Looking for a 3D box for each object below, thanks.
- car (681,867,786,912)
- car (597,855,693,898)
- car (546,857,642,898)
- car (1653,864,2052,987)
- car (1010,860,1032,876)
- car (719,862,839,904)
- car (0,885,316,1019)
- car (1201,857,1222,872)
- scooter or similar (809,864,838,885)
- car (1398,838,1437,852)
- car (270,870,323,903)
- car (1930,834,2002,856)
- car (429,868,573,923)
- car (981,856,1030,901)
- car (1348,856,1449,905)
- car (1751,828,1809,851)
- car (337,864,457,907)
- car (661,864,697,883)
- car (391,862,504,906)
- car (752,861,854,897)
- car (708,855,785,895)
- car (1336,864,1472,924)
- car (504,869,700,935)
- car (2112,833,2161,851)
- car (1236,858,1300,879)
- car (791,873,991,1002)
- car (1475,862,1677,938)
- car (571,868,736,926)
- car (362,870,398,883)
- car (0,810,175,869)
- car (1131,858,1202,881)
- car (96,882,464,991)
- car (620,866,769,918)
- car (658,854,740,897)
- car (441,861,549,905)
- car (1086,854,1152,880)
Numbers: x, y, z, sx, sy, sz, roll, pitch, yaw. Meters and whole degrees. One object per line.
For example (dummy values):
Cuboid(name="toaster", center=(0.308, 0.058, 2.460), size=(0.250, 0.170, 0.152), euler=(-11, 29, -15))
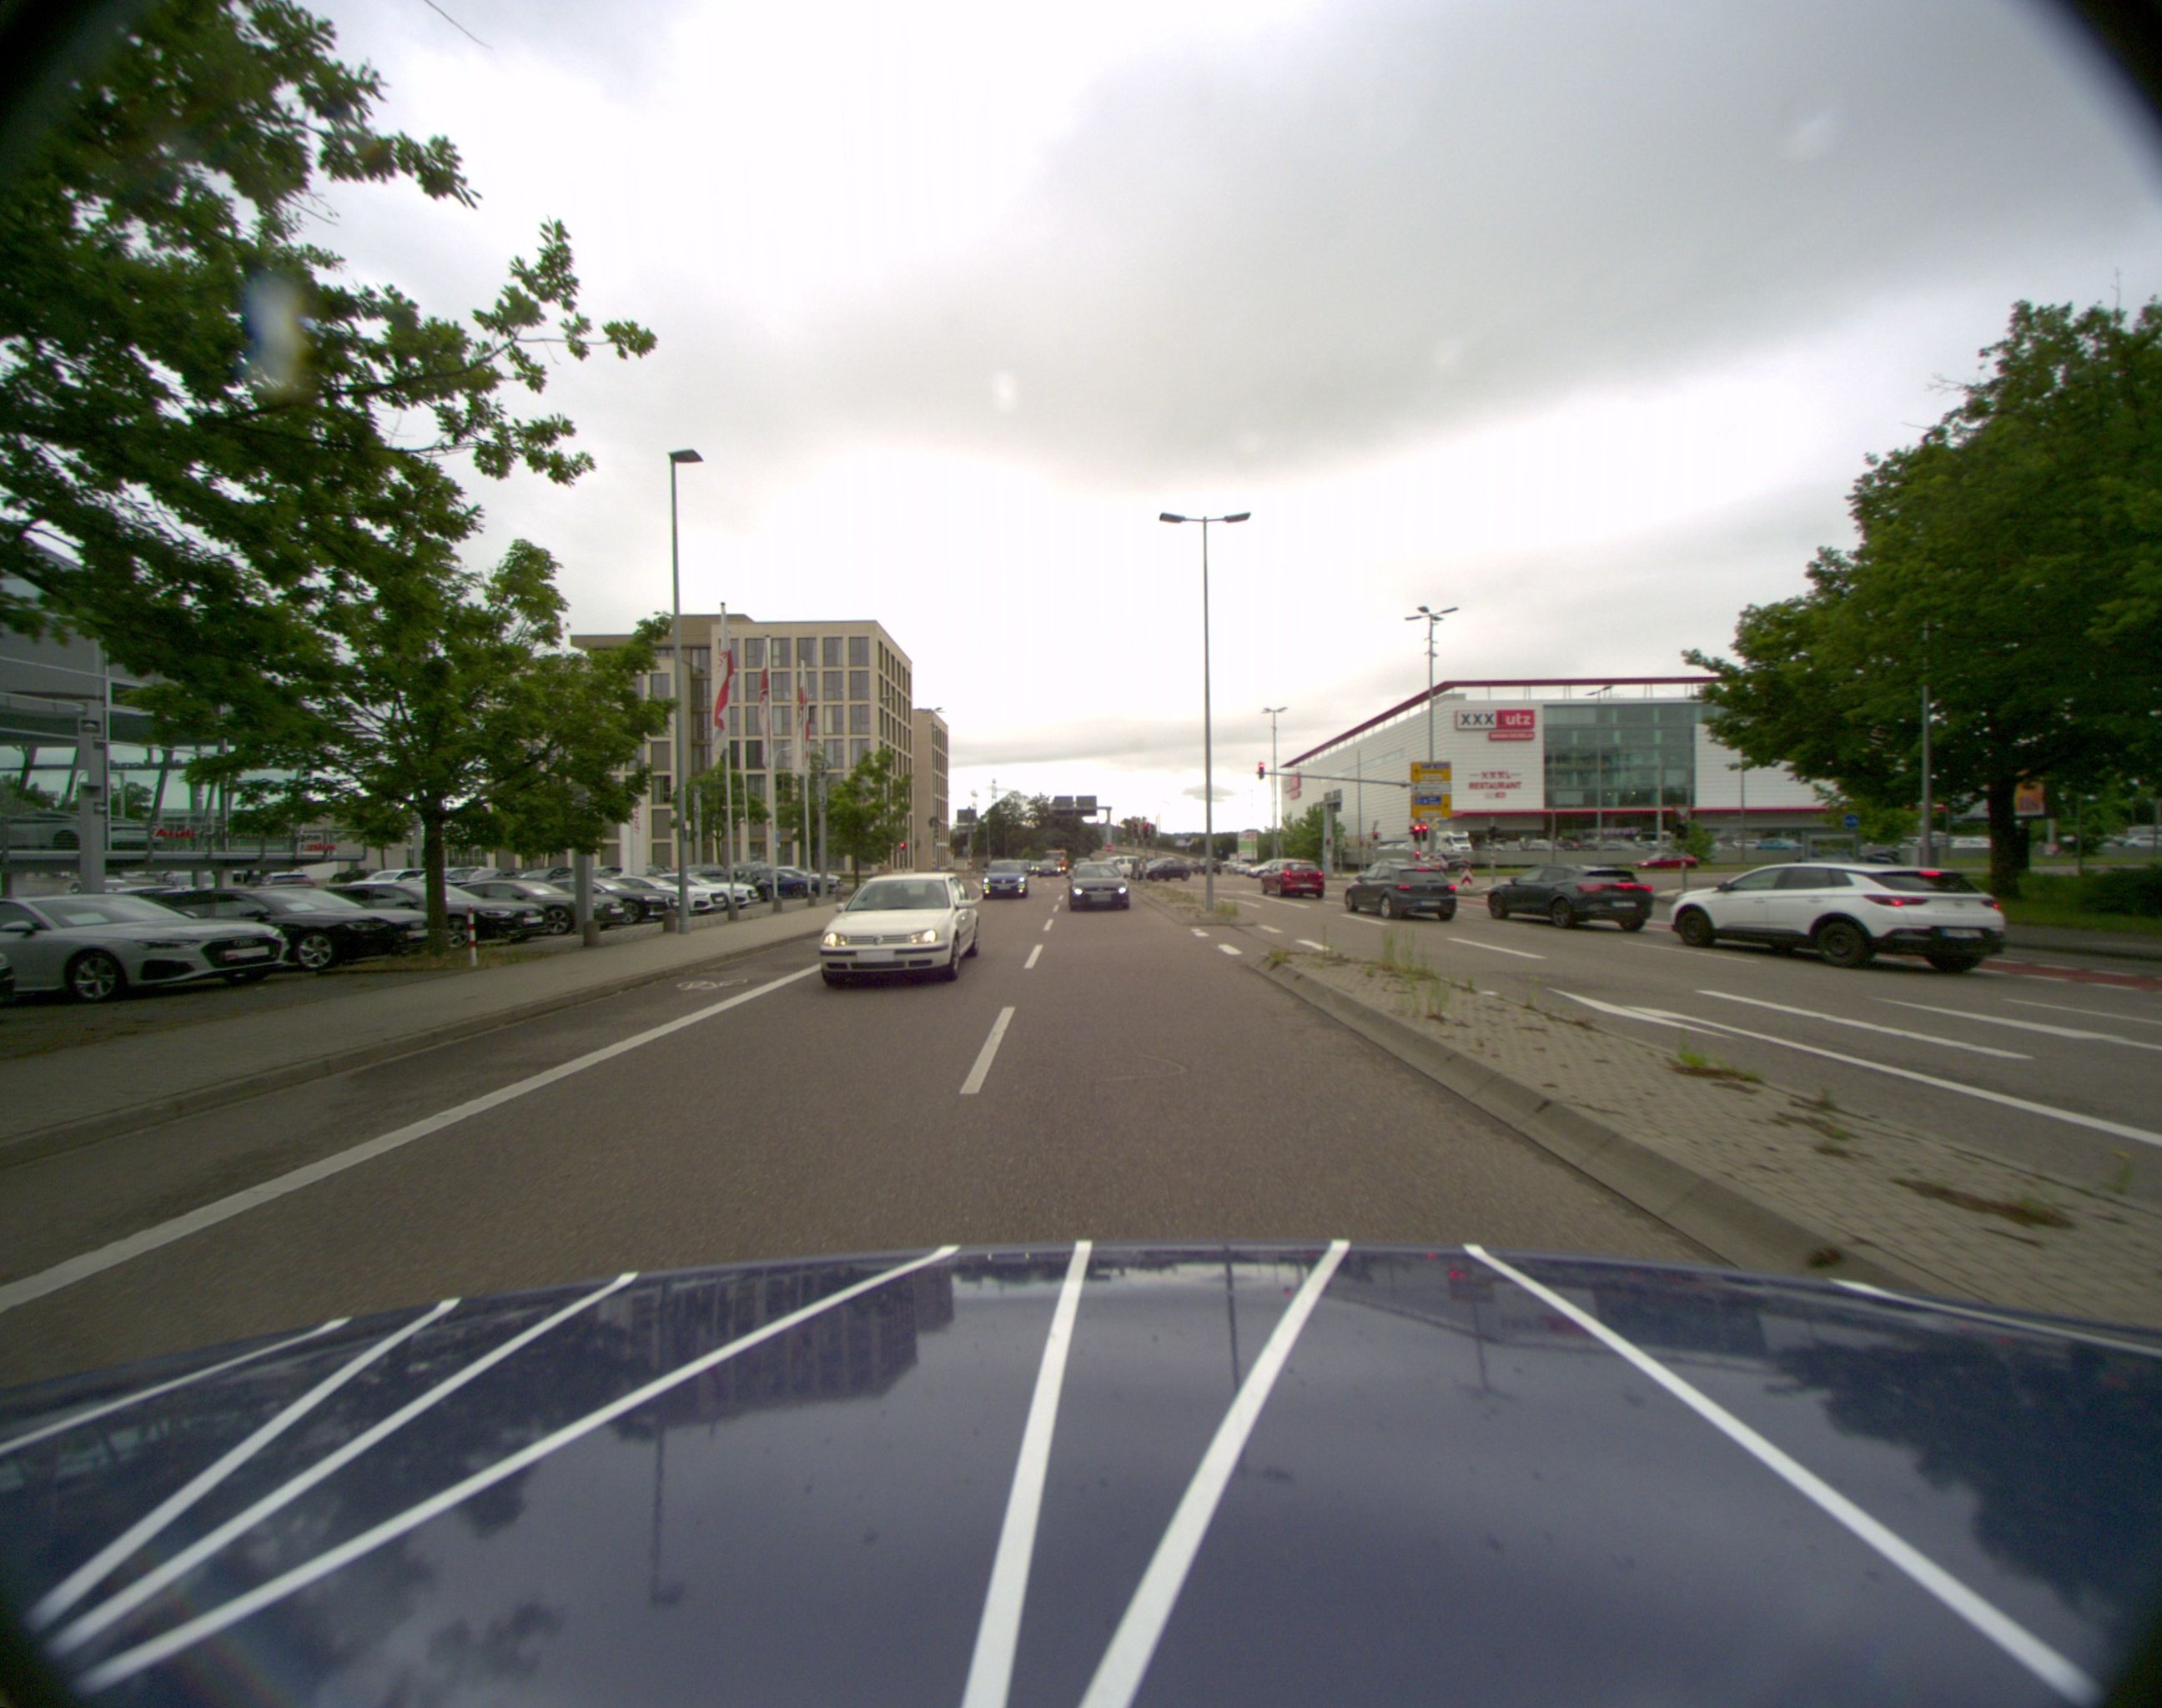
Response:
Cuboid(name="car", center=(-13.844, 1.367, 30.606), size=(1.891, 1.477, 4.755), euler=(-4, 0, 1))
Cuboid(name="car", center=(-23.614, 1.133, 41.455), size=(2.264, 2.002, 5.037), euler=(-2, 2, 0))
Cuboid(name="car", center=(-26.265, 1.195, 41.190), size=(2.053, 1.866, 4.960), euler=(-2, 2, -2))
Cuboid(name="car", center=(12.326, 1.016, 12.732), size=(1.998, 1.585, 4.577), euler=(3, -1, 0))
Cuboid(name="car", center=(-5.951, 1.389, 75.863), size=(1.871, 1.481, 4.151), euler=(-2, -2, 0))
Cuboid(name="car", center=(-13.665, 1.297, 34.598), size=(4.514, 1.477, 2.069), euler=(-4, 1, -1))
Cuboid(name="car", center=(-13.556, 1.315, 10.178), size=(4.661, 1.463, 1.848), euler=(-3, -1, 0))
Cuboid(name="car", center=(13.855, 1.158, 80.597), size=(1.693, 1.519, 3.929), euler=(-2, -2, 3))
Cuboid(name="scooter or similar", center=(-15.118, 1.204, 44.540), size=(1.557, 1.211, 0.560), euler=(-1, -2, 18))
Cuboid(name="car", center=(43.825, -1.130, 98.959), size=(4.255, 1.665, 1.778), euler=(-2, -2, 3))
Cuboid(name="car", center=(-44.169, 1.817, 42.767), size=(4.434, 1.649, 1.926), euler=(-2, 1, 43))
Cuboid(name="car", center=(87.050, -0.856, 74.785), size=(1.998, 2.001, 4.328), euler=(-2, -2, 1))
Cuboid(name="car", center=(-23.312, 1.592, 30.828), size=(1.998, 1.928, 4.818), euler=(-1, 0, 1))
Cuboid(name="car", center=(-3.101, 0.968, 32.039), size=(1.847, 1.612, 4.330), euler=(-2, 1, -3))
Cuboid(name="car", center=(12.020, 0.948, 29.122), size=(1.885, 1.627, 4.332), euler=(2, 0, -2))
Cuboid(name="car", center=(68.598, -1.388, 74.650), size=(1.998, 2.001, 4.002), euler=(-2, -2, 1))
Cuboid(name="car", center=(-37.127, 1.652, 41.453), size=(1.999, 2.002, 4.907), euler=(-2, 2, -1))
Cuboid(name="car", center=(-36.120, 1.762, 68.236), size=(1.892, 1.542, 4.122), euler=(-2, 0, -41))
Cuboid(name="car", center=(-34.289, 1.567, 41.357), size=(1.999, 2.002, 4.907), euler=(-2, 2, -1))
Cuboid(name="car", center=(-13.652, 1.211, 37.487), size=(4.226, 1.477, 1.875), euler=(-3, 1, 1))
Cuboid(name="car", center=(-18.042, 1.094, 41.244), size=(1.999, 1.852, 4.785), euler=(-2, 2, -1))
Cuboid(name="car", center=(8.697, 1.011, 20.917), size=(1.862, 1.453, 4.332), euler=(1, -1, 0))
Cuboid(name="car", center=(-13.344, 1.308, 21.340), size=(4.229, 1.477, 1.871), euler=(-4, 0, 1))
Cuboid(name="car", center=(103.451, -1.181, 73.595), size=(1.795, 1.556, 4.002), euler=(-2, -2, 4))
Cuboid(name="car", center=(13.855, 1.071, 56.310), size=(4.219, 1.407, 1.802), euler=(-1, -2, -10))
Cuboid(name="car", center=(-2.539, 1.058, 11.199), size=(1.837, 1.469, 4.006), euler=(-2, -1, 1))
Cuboid(name="car", center=(11.949, 1.028, 18.823), size=(1.885, 1.535, 4.597), euler=(1, 1, -2))
Cuboid(name="car", center=(-13.419, 1.310, 24.023), size=(4.041, 1.477, 1.877), euler=(-4, 0, 1))
Cuboid(name="car", center=(-75.611, 2.487, 81.959), size=(1.486, 1.324, 3.238), euler=(-1, -2, -14))
Cuboid(name="car", center=(-31.435, -0.420, 23.752), size=(3.997, 1.651, 1.826), euler=(-2, -2, -1))
Cuboid(name="car", center=(5.453, 0.983, 48.460), size=(4.265, 1.370, 1.765), euler=(-1, -2, -30))
Cuboid(name="car", center=(-13.436, 1.339, 12.967), size=(4.165, 1.382, 1.902), euler=(-4, 0, 0))
Cuboid(name="car", center=(-13.499, 1.298, 26.701), size=(4.195, 1.477, 1.853), euler=(-4, 0, 1))
Cuboid(name="car", center=(-20.613, 1.096, 41.294), size=(1.999, 2.002, 4.715), euler=(-2, 2, 0))
Cuboid(name="car", center=(-31.577, 1.508, 41.194), size=(1.999, 2.002, 4.907), euler=(-2, 2, -1))
Cuboid(name="car", center=(2.617, 0.888, 52.277), size=(4.383, 1.615, 1.796), euler=(0, -2, -38))
